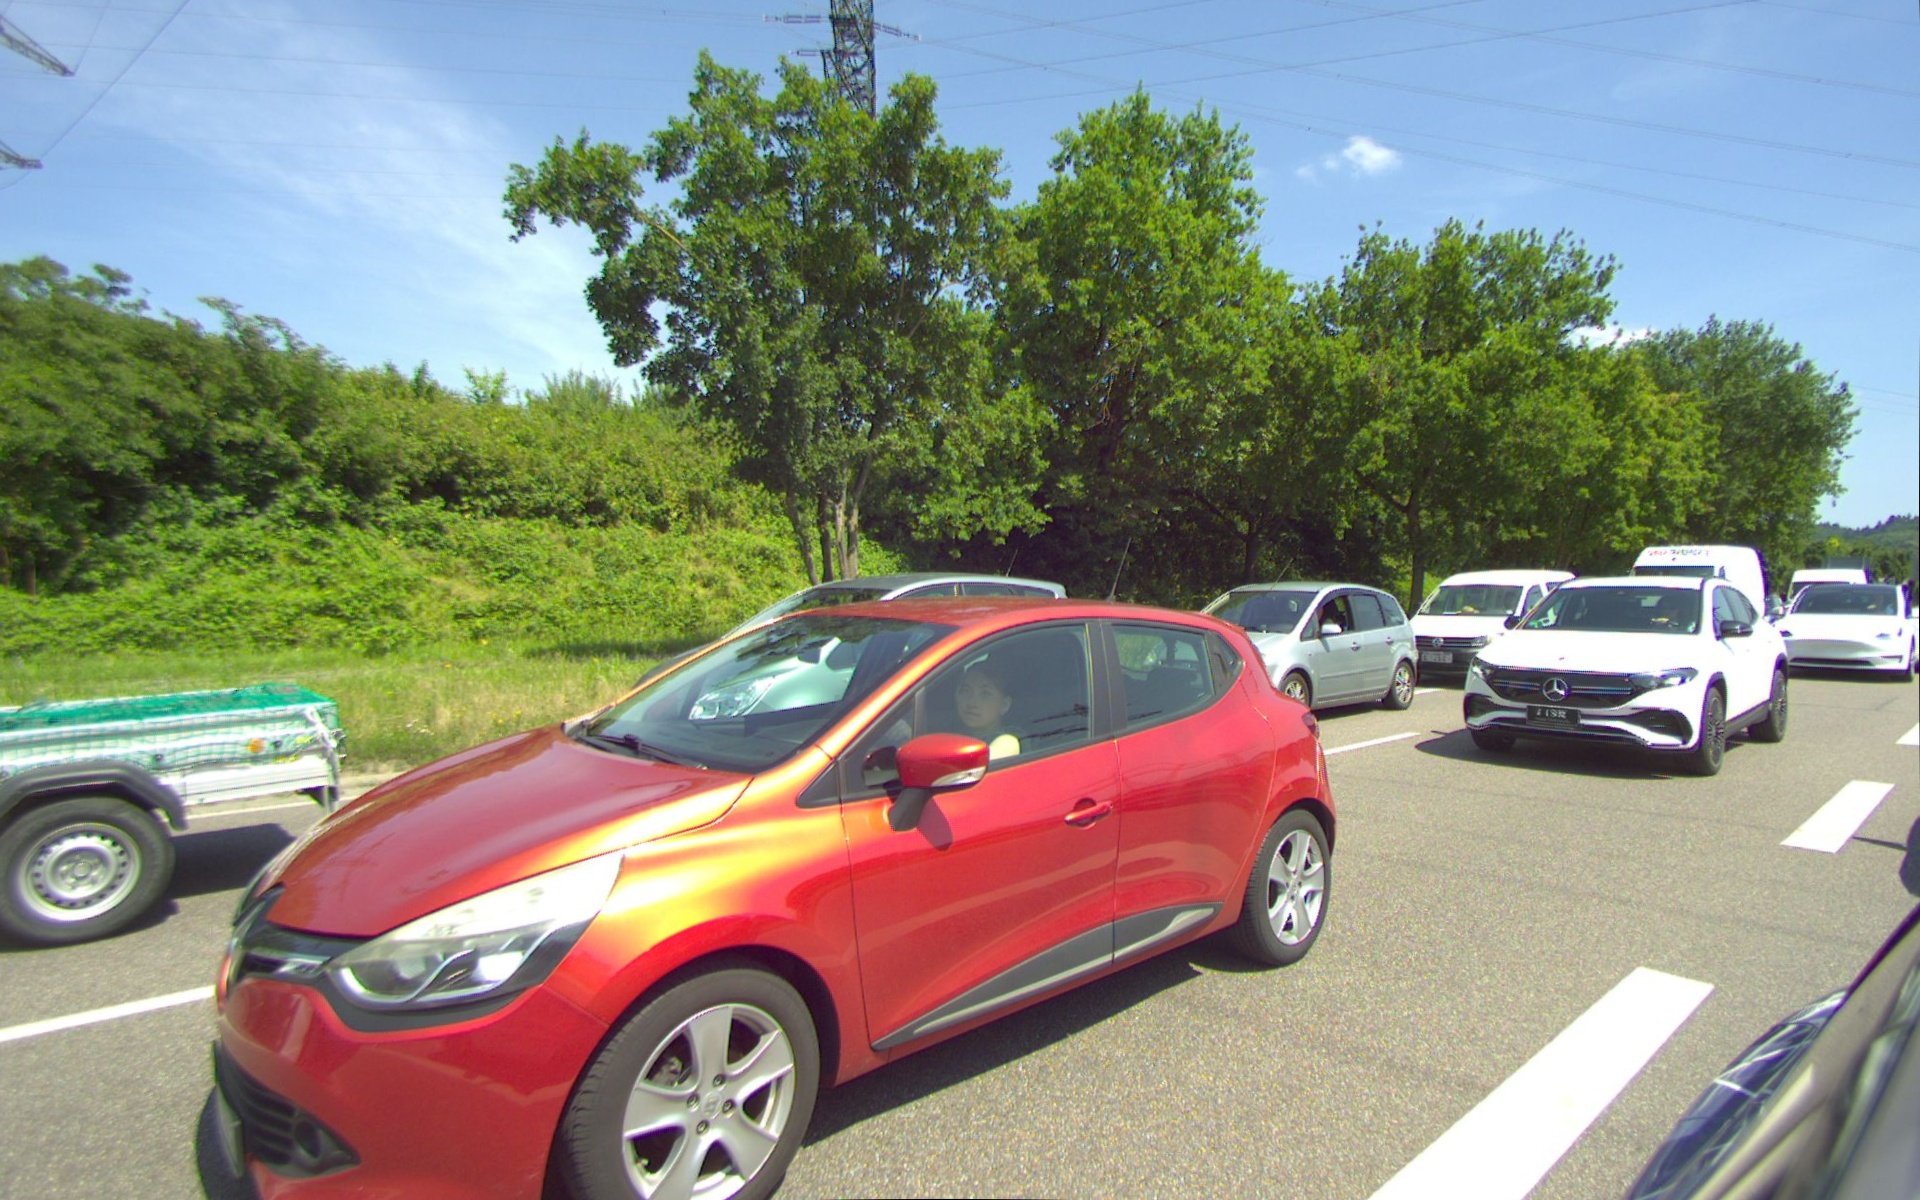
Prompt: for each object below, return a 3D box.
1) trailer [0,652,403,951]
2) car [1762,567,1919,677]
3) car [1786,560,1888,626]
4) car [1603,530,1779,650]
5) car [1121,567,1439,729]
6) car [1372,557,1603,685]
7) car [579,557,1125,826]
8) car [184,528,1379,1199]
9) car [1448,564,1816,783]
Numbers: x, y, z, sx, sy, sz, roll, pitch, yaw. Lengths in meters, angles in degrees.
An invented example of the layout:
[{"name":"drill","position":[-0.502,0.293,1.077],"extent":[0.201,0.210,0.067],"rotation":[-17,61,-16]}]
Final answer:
[{"name":"trailer","position":[-4.463,0.850,4.439],"extent":[3.266,1.019,1.708],"rotation":[0,1,-42]},{"name":"car","position":[15.705,0.318,17.757],"extent":[3.933,1.703,2.019],"rotation":[-1,0,-43]},{"name":"car","position":[34.875,-0.291,40.195],"extent":[5.713,2.453,2.306],"rotation":[-1,0,-41]},{"name":"car","position":[18.494,-0.254,25.426],"extent":[6.898,2.640,2.230],"rotation":[0,0,-42]},{"name":"car","position":[3.954,0.456,12.131],"extent":[4.198,1.614,1.745],"rotation":[0,0,-41]},{"name":"car","position":[8.837,0.280,16.742],"extent":[4.951,1.823,1.807],"rotation":[0,0,-42]},{"name":"car","position":[-0.684,0.515,8.109],"extent":[4.093,1.615,1.768],"rotation":[0,2,-41]},{"name":"car","position":[-0.235,0.600,3.683],"extent":[3.996,1.480,1.745],"rotation":[0,1,-43]},{"name":"car","position":[6.418,0.510,9.468],"extent":[4.288,1.588,1.848],"rotation":[0,0,-41]}]
